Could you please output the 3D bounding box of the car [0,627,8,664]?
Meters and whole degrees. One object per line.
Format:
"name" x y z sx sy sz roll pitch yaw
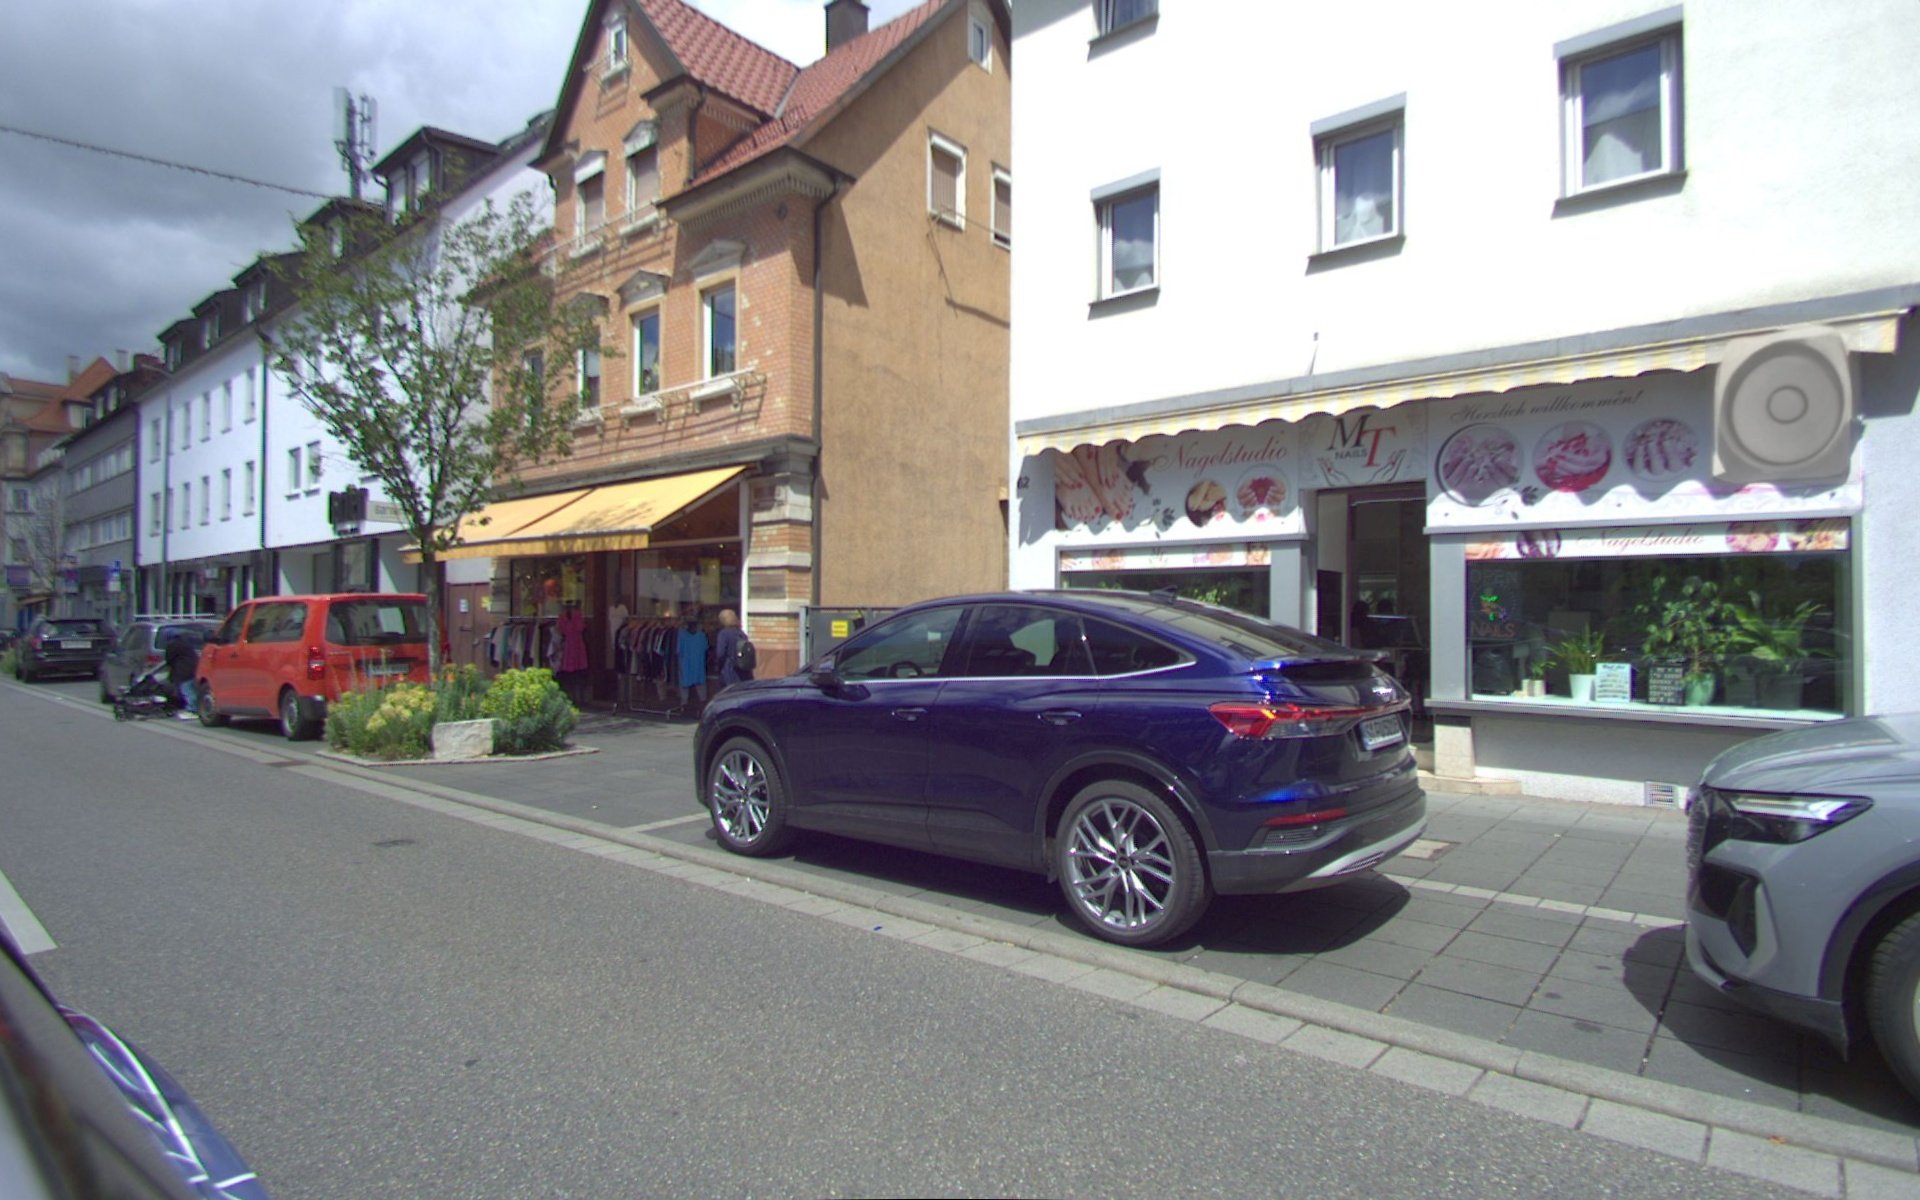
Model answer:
"car" -42.146 1.928 43.227 4.711 1.524 1.771 0 0 42

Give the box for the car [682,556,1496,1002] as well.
"car" 0.423 0.694 5.797 4.387 1.610 1.780 -1 -2 41

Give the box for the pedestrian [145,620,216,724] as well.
"pedestrian" -12.573 1.133 16.321 0.779 1.586 0.797 -1 0 43

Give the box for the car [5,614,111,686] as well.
"car" -24.757 1.280 27.715 4.670 1.768 1.796 0 0 44

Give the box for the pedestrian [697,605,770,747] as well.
"pedestrian" -2.734 0.884 12.204 0.661 1.645 0.582 -1 0 41

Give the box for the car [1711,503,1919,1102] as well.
"car" 4.493 0.531 2.349 4.346 1.616 1.782 -1 -2 39

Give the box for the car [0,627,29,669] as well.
"car" -37.477 1.838 39.070 4.175 1.515 1.772 -1 0 40

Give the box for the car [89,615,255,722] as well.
"car" -15.187 1.206 19.410 4.463 1.768 1.797 0 0 42

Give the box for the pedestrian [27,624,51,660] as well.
"pedestrian" -43.565 1.983 47.869 0.650 1.630 0.725 -1 0 36

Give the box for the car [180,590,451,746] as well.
"car" -9.370 0.835 14.551 4.834 1.903 1.799 0 0 38

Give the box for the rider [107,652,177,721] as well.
"rider" -13.305 1.387 16.463 0.707 1.021 0.795 -1 0 43
